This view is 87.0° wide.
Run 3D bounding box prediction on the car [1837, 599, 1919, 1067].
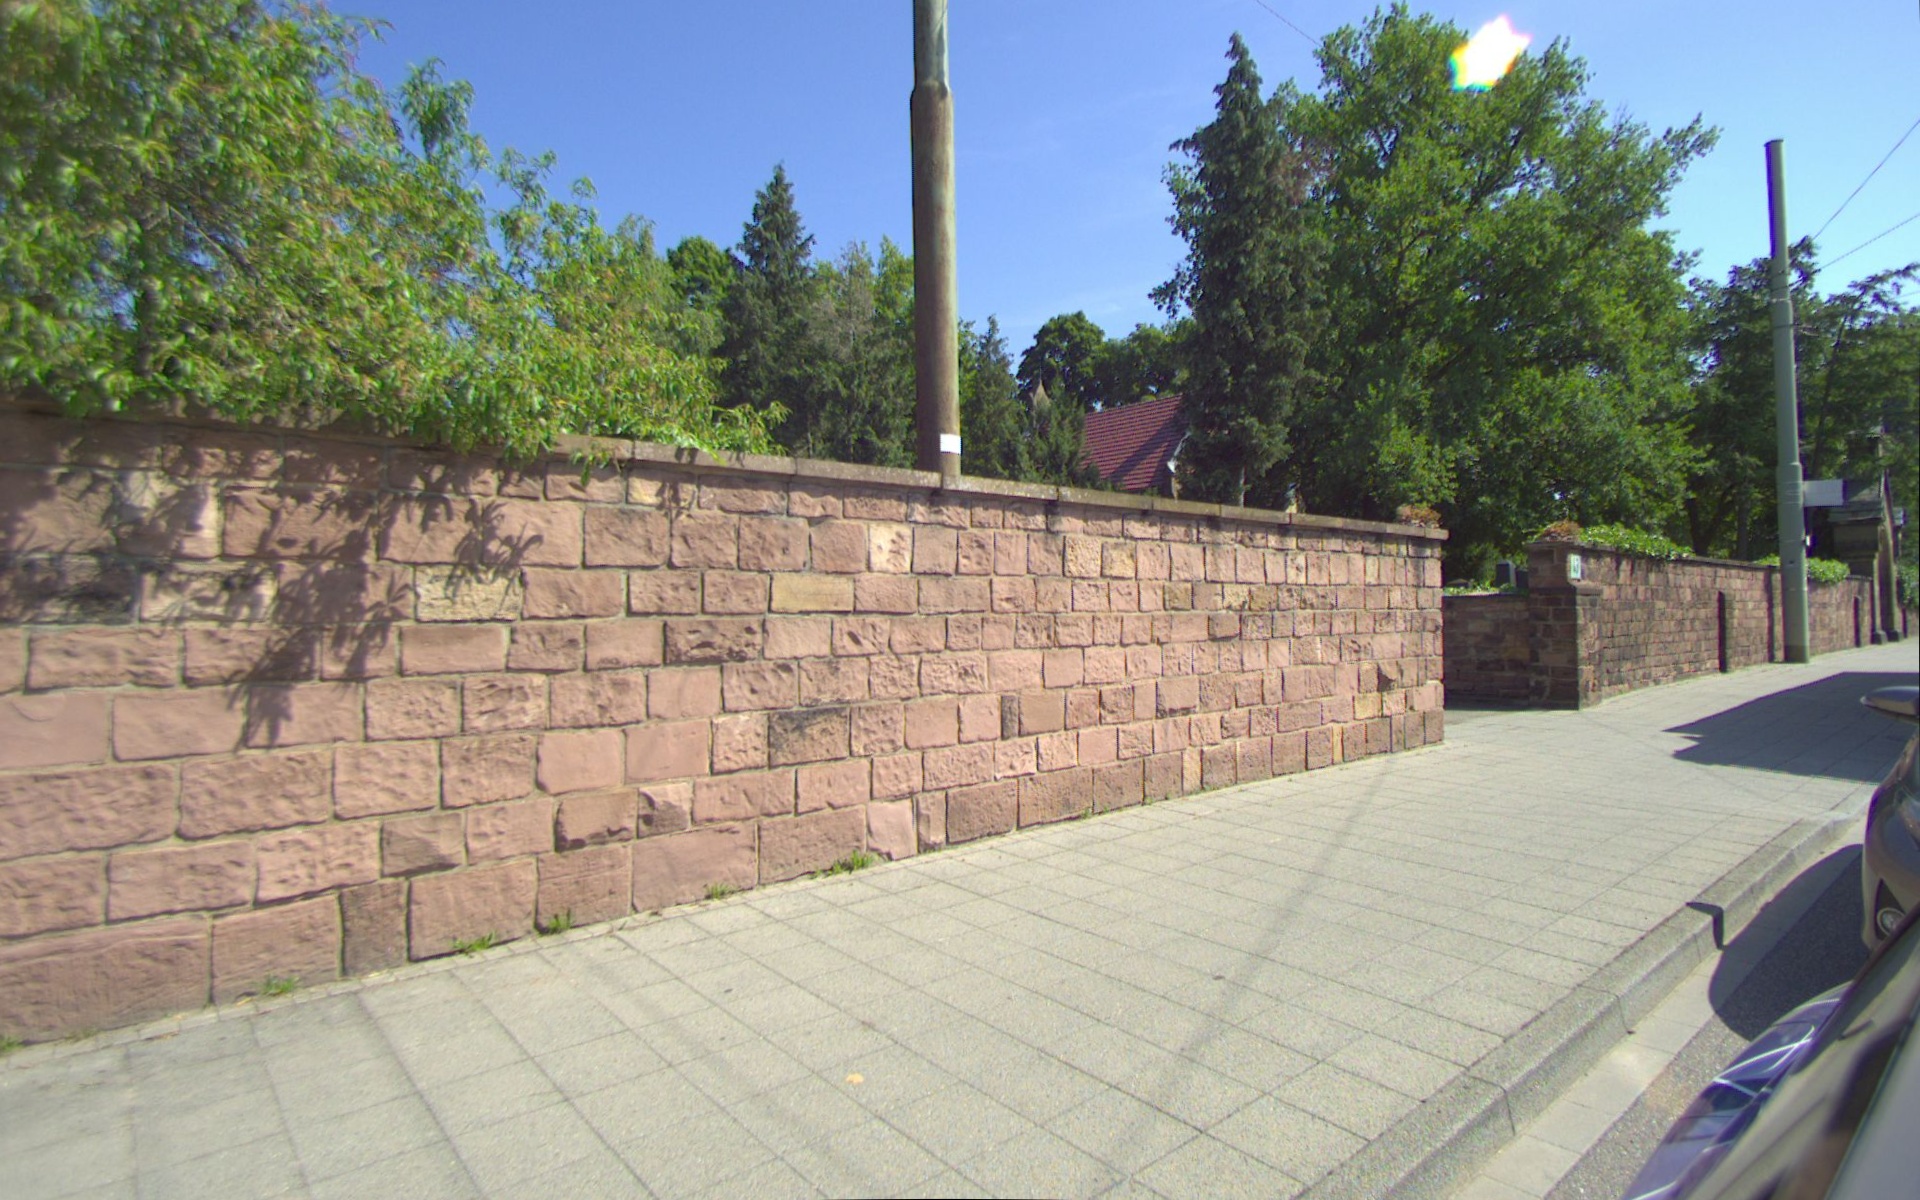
[{"bbox_3d":[5.089,0.706,4.061,4.384,1.451,1.741,0,-1,-41],"label":"car"}]
